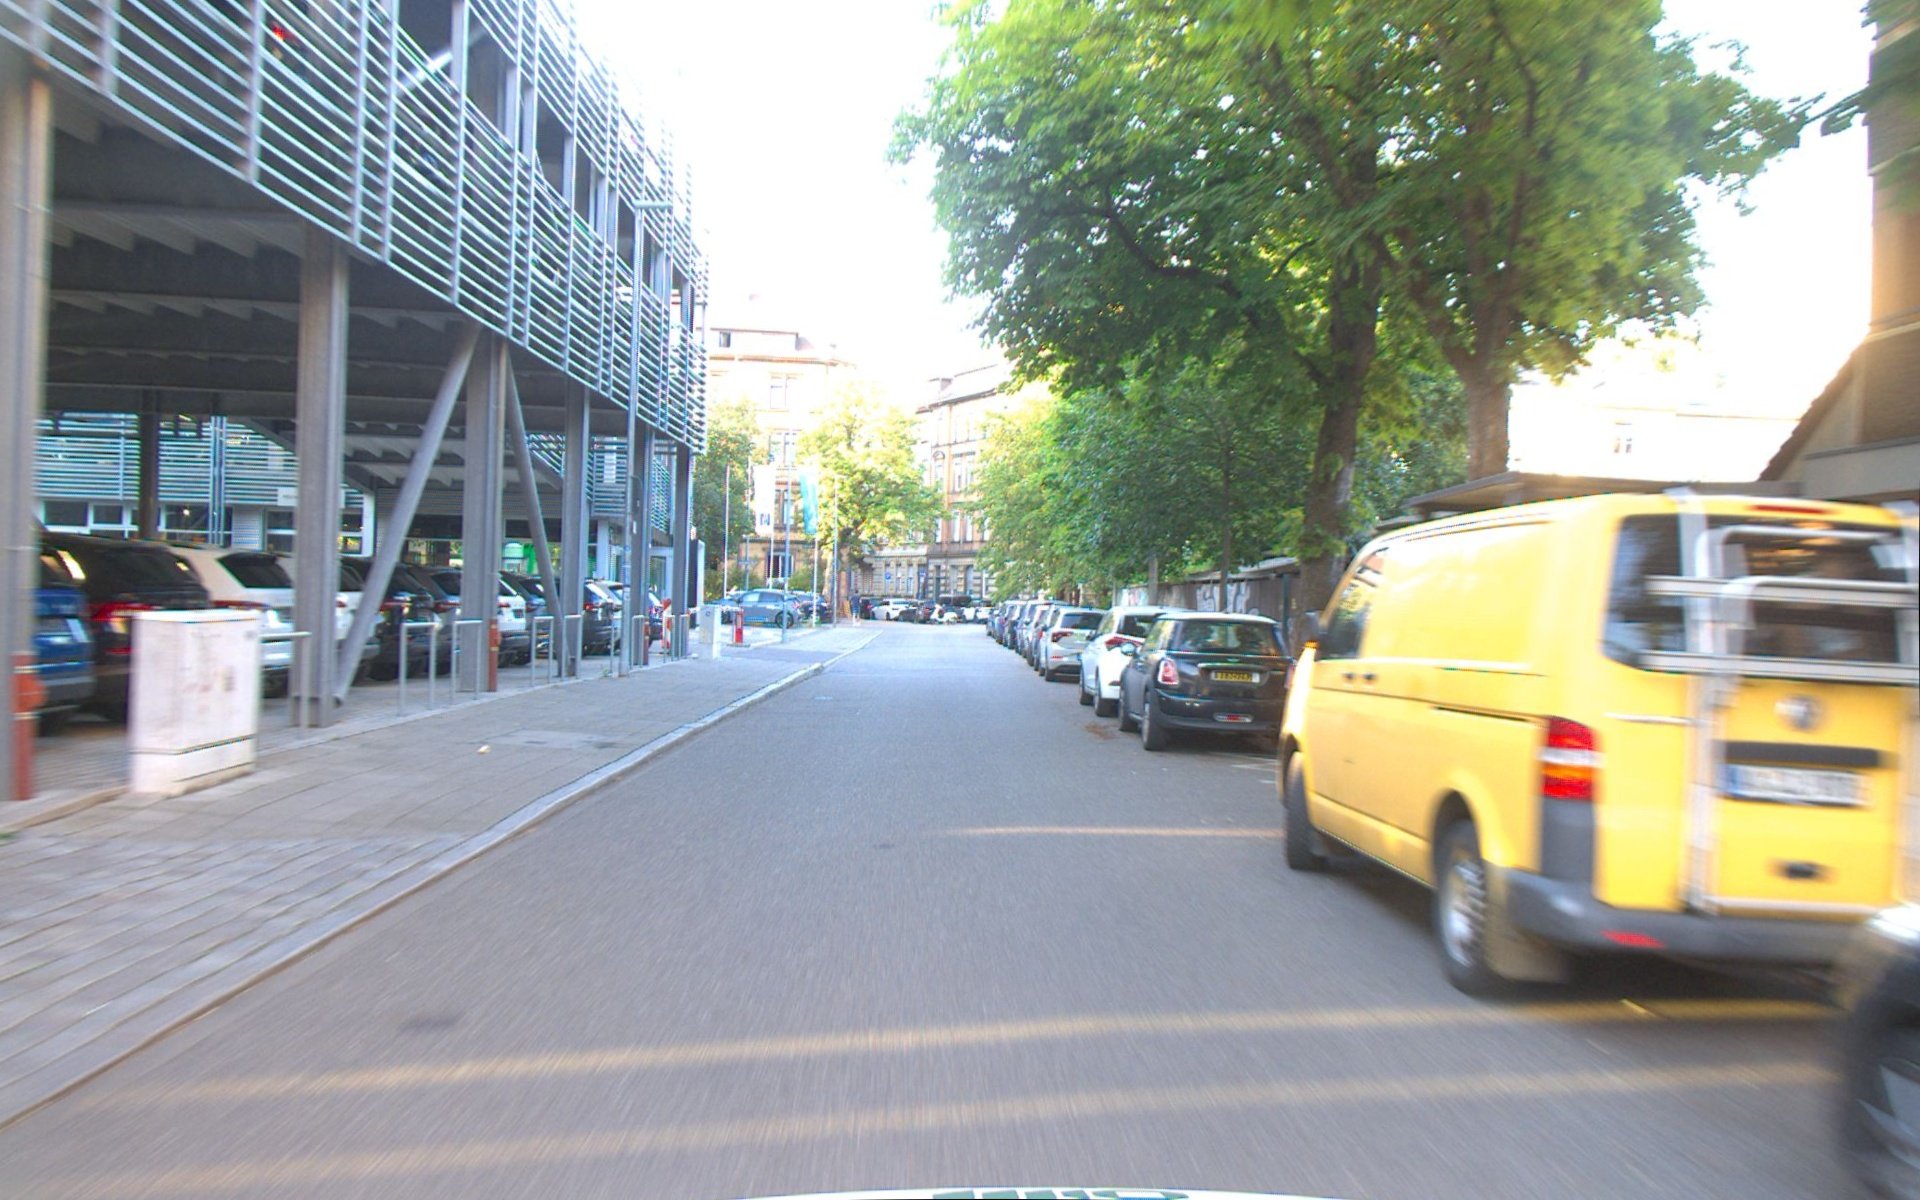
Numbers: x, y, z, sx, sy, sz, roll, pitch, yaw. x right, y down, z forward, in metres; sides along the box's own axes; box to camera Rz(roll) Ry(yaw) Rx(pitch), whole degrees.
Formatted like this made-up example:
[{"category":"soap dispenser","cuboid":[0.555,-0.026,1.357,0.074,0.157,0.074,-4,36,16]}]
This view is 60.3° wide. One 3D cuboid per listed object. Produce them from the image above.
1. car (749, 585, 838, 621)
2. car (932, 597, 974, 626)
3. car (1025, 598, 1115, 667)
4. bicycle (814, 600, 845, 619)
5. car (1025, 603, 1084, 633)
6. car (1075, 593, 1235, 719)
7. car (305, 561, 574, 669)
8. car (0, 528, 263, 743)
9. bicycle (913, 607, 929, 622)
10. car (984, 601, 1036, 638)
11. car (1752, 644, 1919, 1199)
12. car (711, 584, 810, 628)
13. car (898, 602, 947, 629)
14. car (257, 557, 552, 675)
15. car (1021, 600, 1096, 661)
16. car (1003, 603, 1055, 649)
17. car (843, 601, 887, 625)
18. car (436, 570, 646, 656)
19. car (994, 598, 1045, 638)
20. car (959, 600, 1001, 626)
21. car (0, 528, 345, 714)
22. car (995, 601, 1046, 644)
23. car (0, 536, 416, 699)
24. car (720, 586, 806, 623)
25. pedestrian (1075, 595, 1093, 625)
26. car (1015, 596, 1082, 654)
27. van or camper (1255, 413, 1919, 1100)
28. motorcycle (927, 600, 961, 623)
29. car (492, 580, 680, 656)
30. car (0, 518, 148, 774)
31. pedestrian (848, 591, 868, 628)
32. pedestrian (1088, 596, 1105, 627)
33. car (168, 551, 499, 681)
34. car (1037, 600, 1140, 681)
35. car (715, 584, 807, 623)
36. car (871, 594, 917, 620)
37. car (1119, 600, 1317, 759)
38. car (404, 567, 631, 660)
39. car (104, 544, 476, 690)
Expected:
[{"category":"car","cuboid":[-9.113,0.158,90.678,4.737,1.762,1.918,2,1,-7]},{"category":"car","cuboid":[-0.473,0.762,110.707,1.653,1.813,2.992,2,0,-25]},{"category":"car","cuboid":[2.520,0.717,38.728,1.723,1.480,4.391,1,0,-1]},{"category":"bicycle","cuboid":[-7.356,0.527,93.336,1.650,1.046,0.442,1,1,-25]},{"category":"car","cuboid":[5.635,1.046,98.829,1.890,1.552,3.866,2,1,-25]},{"category":"car","cuboid":[2.661,0.715,23.382,1.687,1.546,4.025,1,1,-1]},{"category":"car","cuboid":[-8.875,0.235,28.439,3.981,1.713,1.860,1,1,0]},{"category":"car","cuboid":[-8.494,0.240,14.340,4.064,1.713,1.860,1,1,0]},{"category":"bicycle","cuboid":[-2.270,0.859,96.733,0.416,0.836,1.462,1,1,21]},{"category":"car","cuboid":[2.101,0.794,70.613,1.662,1.502,4.208,1,0,-5]},{"category":"car","cuboid":[2.894,0.866,2.415,1.573,1.406,4.001,1,1,1]},{"category":"car","cuboid":[-8.648,0.263,71.849,4.047,1.646,1.912,3,1,-3]},{"category":"car","cuboid":[-2.342,0.940,102.125,1.633,1.456,3.960,2,1,-24]},{"category":"car","cuboid":[-8.752,0.236,26.296,4.019,1.713,1.860,1,1,0]},{"category":"car","cuboid":[2.614,0.795,44.664,1.723,1.467,3.873,1,1,-1]},{"category":"car","cuboid":[2.349,0.859,57.026,1.564,1.502,3.773,1,0,-1]},{"category":"car","cuboid":[-6.366,0.864,110.962,1.633,1.456,3.866,2,1,-25]},{"category":"car","cuboid":[-8.956,0.256,35.576,3.996,1.713,1.860,1,1,0]},{"category":"car","cuboid":[2.357,0.701,66.211,1.661,1.502,3.556,1,0,-4]},{"category":"car","cuboid":[1.284,0.861,107.275,1.653,1.552,2.746,2,0,-25]},{"category":"car","cuboid":[-8.573,0.172,16.750,3.943,1.713,1.860,1,1,0]},{"category":"car","cuboid":[2.237,0.826,61.752,1.660,1.502,4.116,1,0,-1]},{"category":"car","cuboid":[-8.645,0.179,19.191,4.000,1.713,1.860,1,1,0]},{"category":"car","cuboid":[-9.398,0.214,79.195,3.966,1.501,1.919,3,1,-5]},{"category":"pedestrian","cuboid":[7.602,0.616,101.782,0.828,1.835,0.771,1,1,-21]},{"category":"car","cuboid":[2.606,0.718,49.674,1.723,1.632,3.873,1,0,-1]},{"category":"van or camper","cuboid":[2.946,0.469,7.742,2.022,2.132,5.089,1,1,-2]},{"category":"motorcycle","cuboid":[-0.965,0.693,98.867,1.897,1.364,0.576,1,1,-11]},{"category":"car","cuboid":[-8.583,0.431,38.207,3.907,1.614,1.859,1,-2,-3]},{"category":"car","cuboid":[-8.342,0.247,11.986,3.952,1.713,1.860,1,1,0]},{"category":"pedestrian","cuboid":[-5.235,0.488,84.819,0.724,1.835,1.115,1,1,-21]},{"category":"pedestrian","cuboid":[8.199,0.663,99.543,0.760,1.835,0.840,1,1,-16]},{"category":"car","cuboid":[-8.921,0.208,23.799,4.019,1.713,1.860,1,1,0]},{"category":"car","cuboid":[2.572,0.783,33.828,1.723,1.467,4.005,1,1,-1]},{"category":"car","cuboid":[-9.031,0.145,75.125,3.986,1.646,1.764,1,1,-3]},{"category":"car","cuboid":[-4.281,0.454,106.606,1.632,1.456,4.139,2,1,-23]},{"category":"car","cuboid":[2.699,0.781,17.965,1.531,1.475,3.453,1,1,-1]},{"category":"car","cuboid":[-8.802,0.253,33.149,4.003,1.713,1.860,1,1,0]},{"category":"car","cuboid":[-8.574,0.198,21.424,4.019,1.713,1.860,1,1,0]}]
